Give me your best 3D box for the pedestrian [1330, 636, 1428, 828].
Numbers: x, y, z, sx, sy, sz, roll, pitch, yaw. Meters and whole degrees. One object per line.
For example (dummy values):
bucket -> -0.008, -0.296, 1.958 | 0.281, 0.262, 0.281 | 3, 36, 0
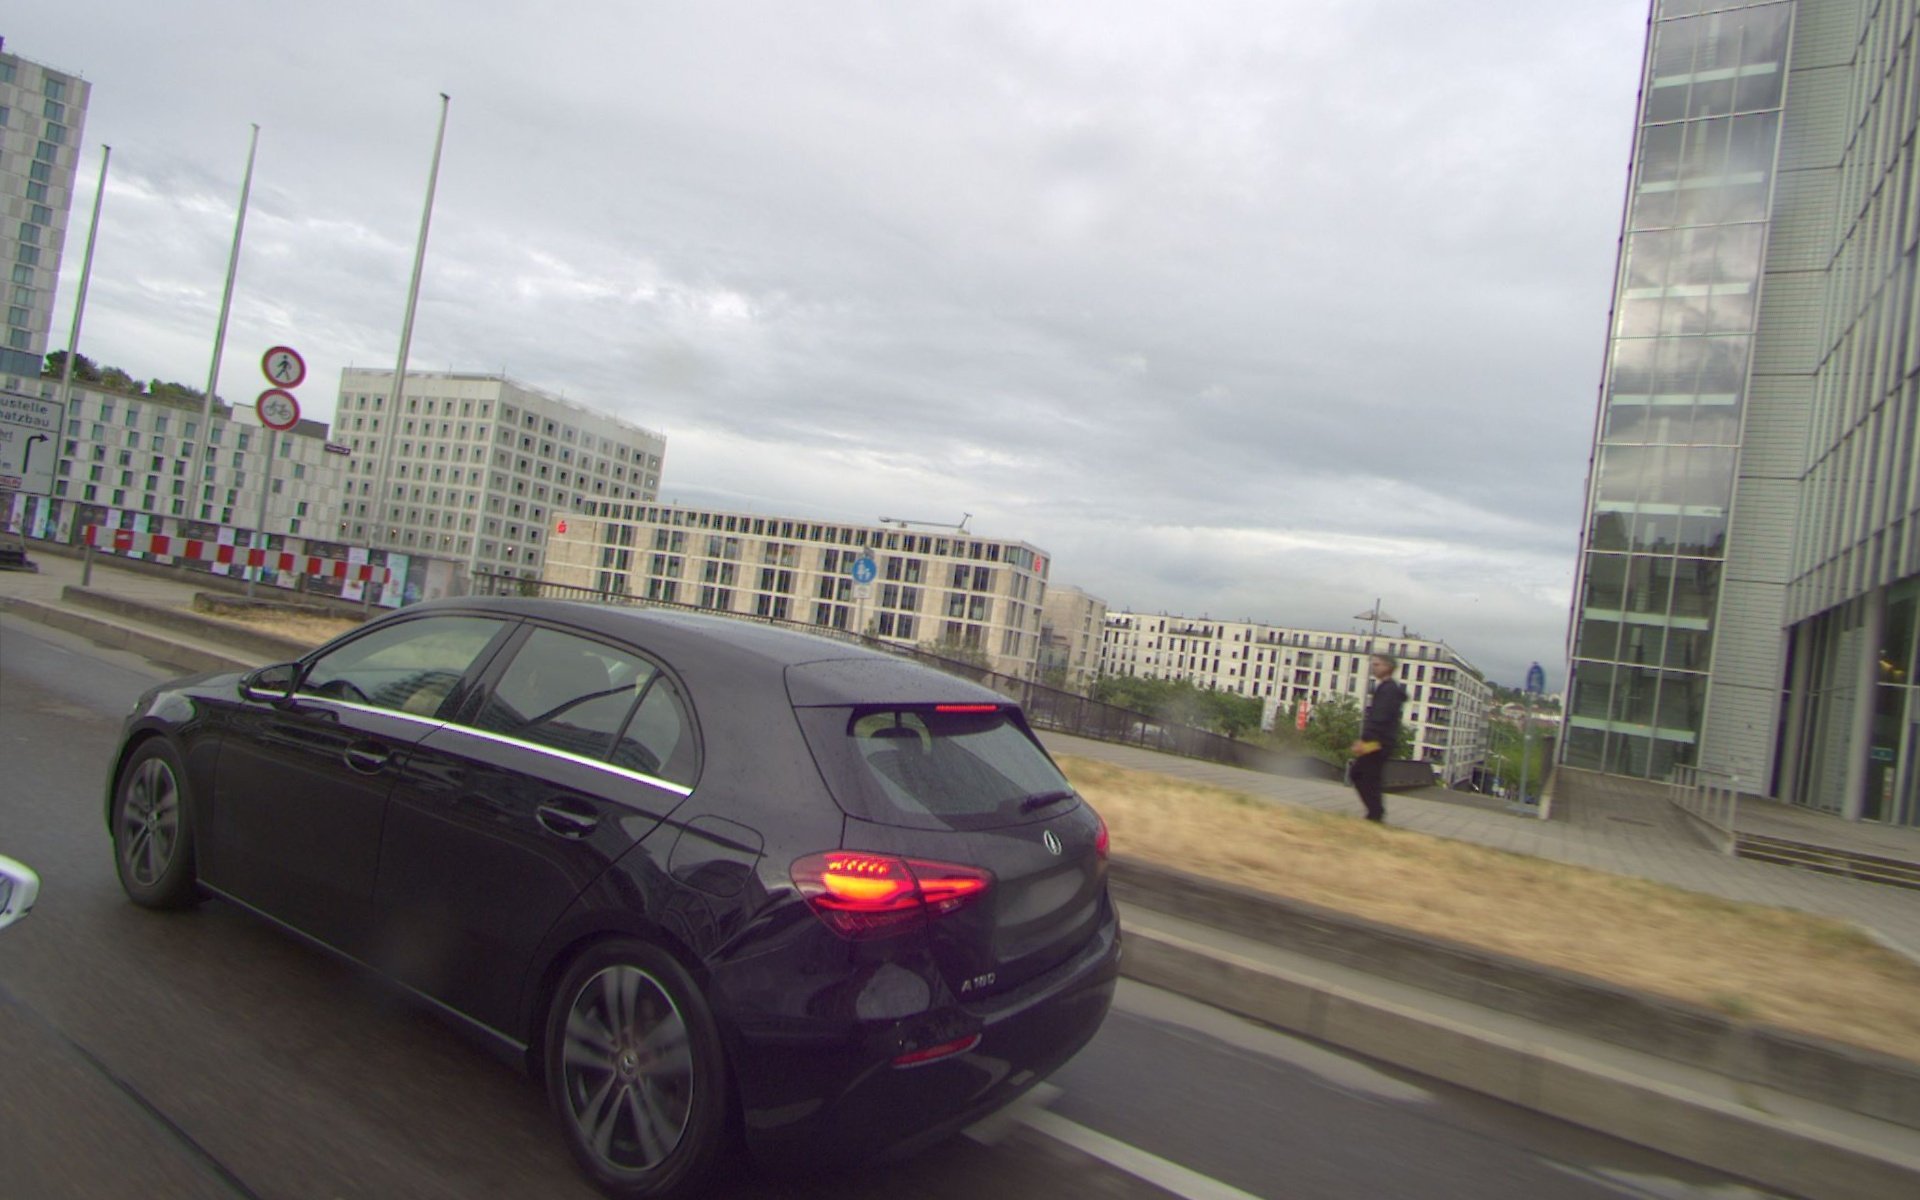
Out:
pedestrian -> 3.870, 1.205, 9.280 | 0.538, 1.629, 0.660 | 8, -1, 32

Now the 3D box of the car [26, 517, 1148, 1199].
car -> -1.589, 0.623, 3.852 | 4.085, 1.392, 1.727 | 6, -2, 31
